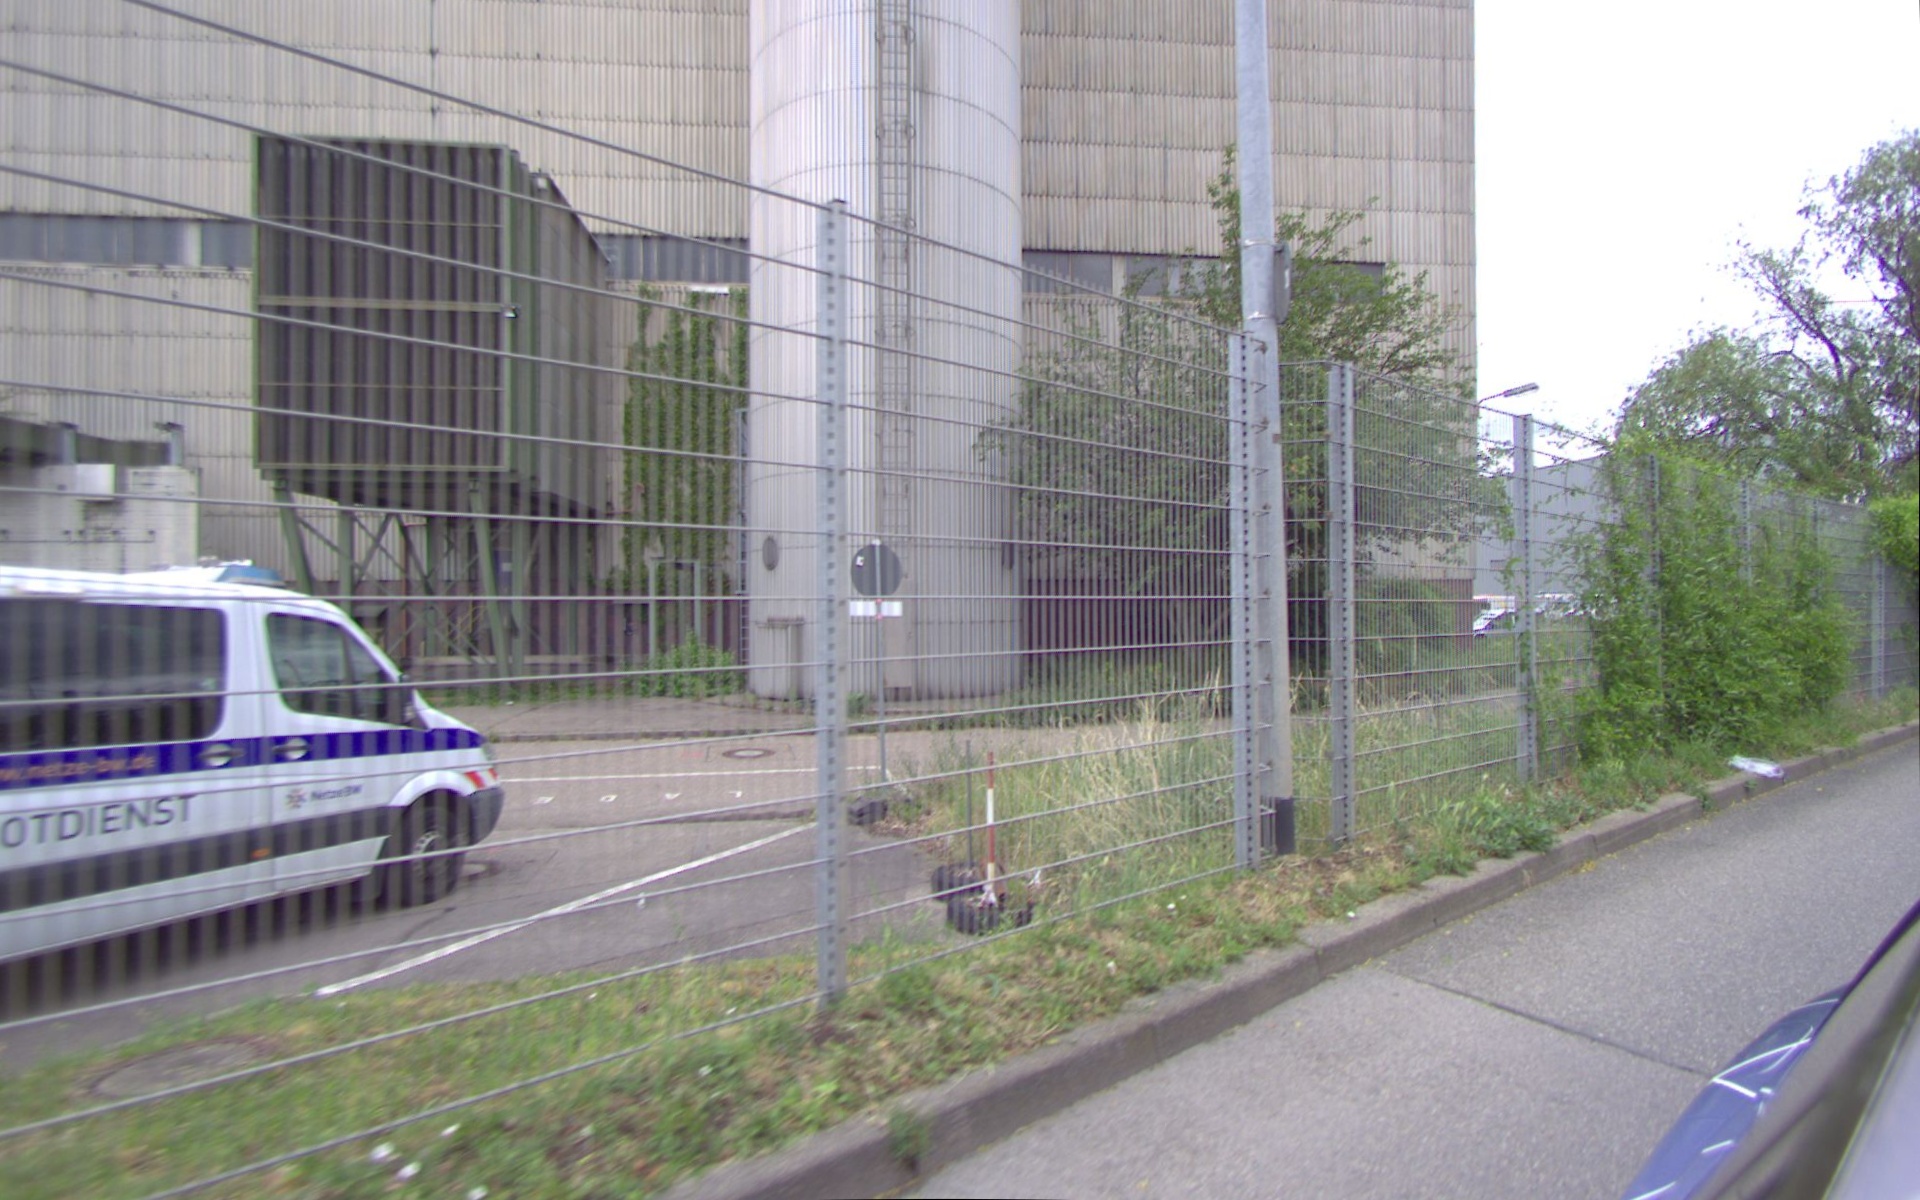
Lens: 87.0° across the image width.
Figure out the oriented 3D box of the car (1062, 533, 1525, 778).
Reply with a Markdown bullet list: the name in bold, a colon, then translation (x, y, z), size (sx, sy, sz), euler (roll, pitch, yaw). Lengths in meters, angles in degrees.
- **car**: translation (3.565, 0.407, 10.521), size (4.752, 2.039, 2.001), euler (-1, 0, -32)

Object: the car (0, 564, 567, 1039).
- **car**: translation (-5.287, 1.010, 6.051), size (1.975, 2.292, 6.128), euler (-1, -2, 20)
